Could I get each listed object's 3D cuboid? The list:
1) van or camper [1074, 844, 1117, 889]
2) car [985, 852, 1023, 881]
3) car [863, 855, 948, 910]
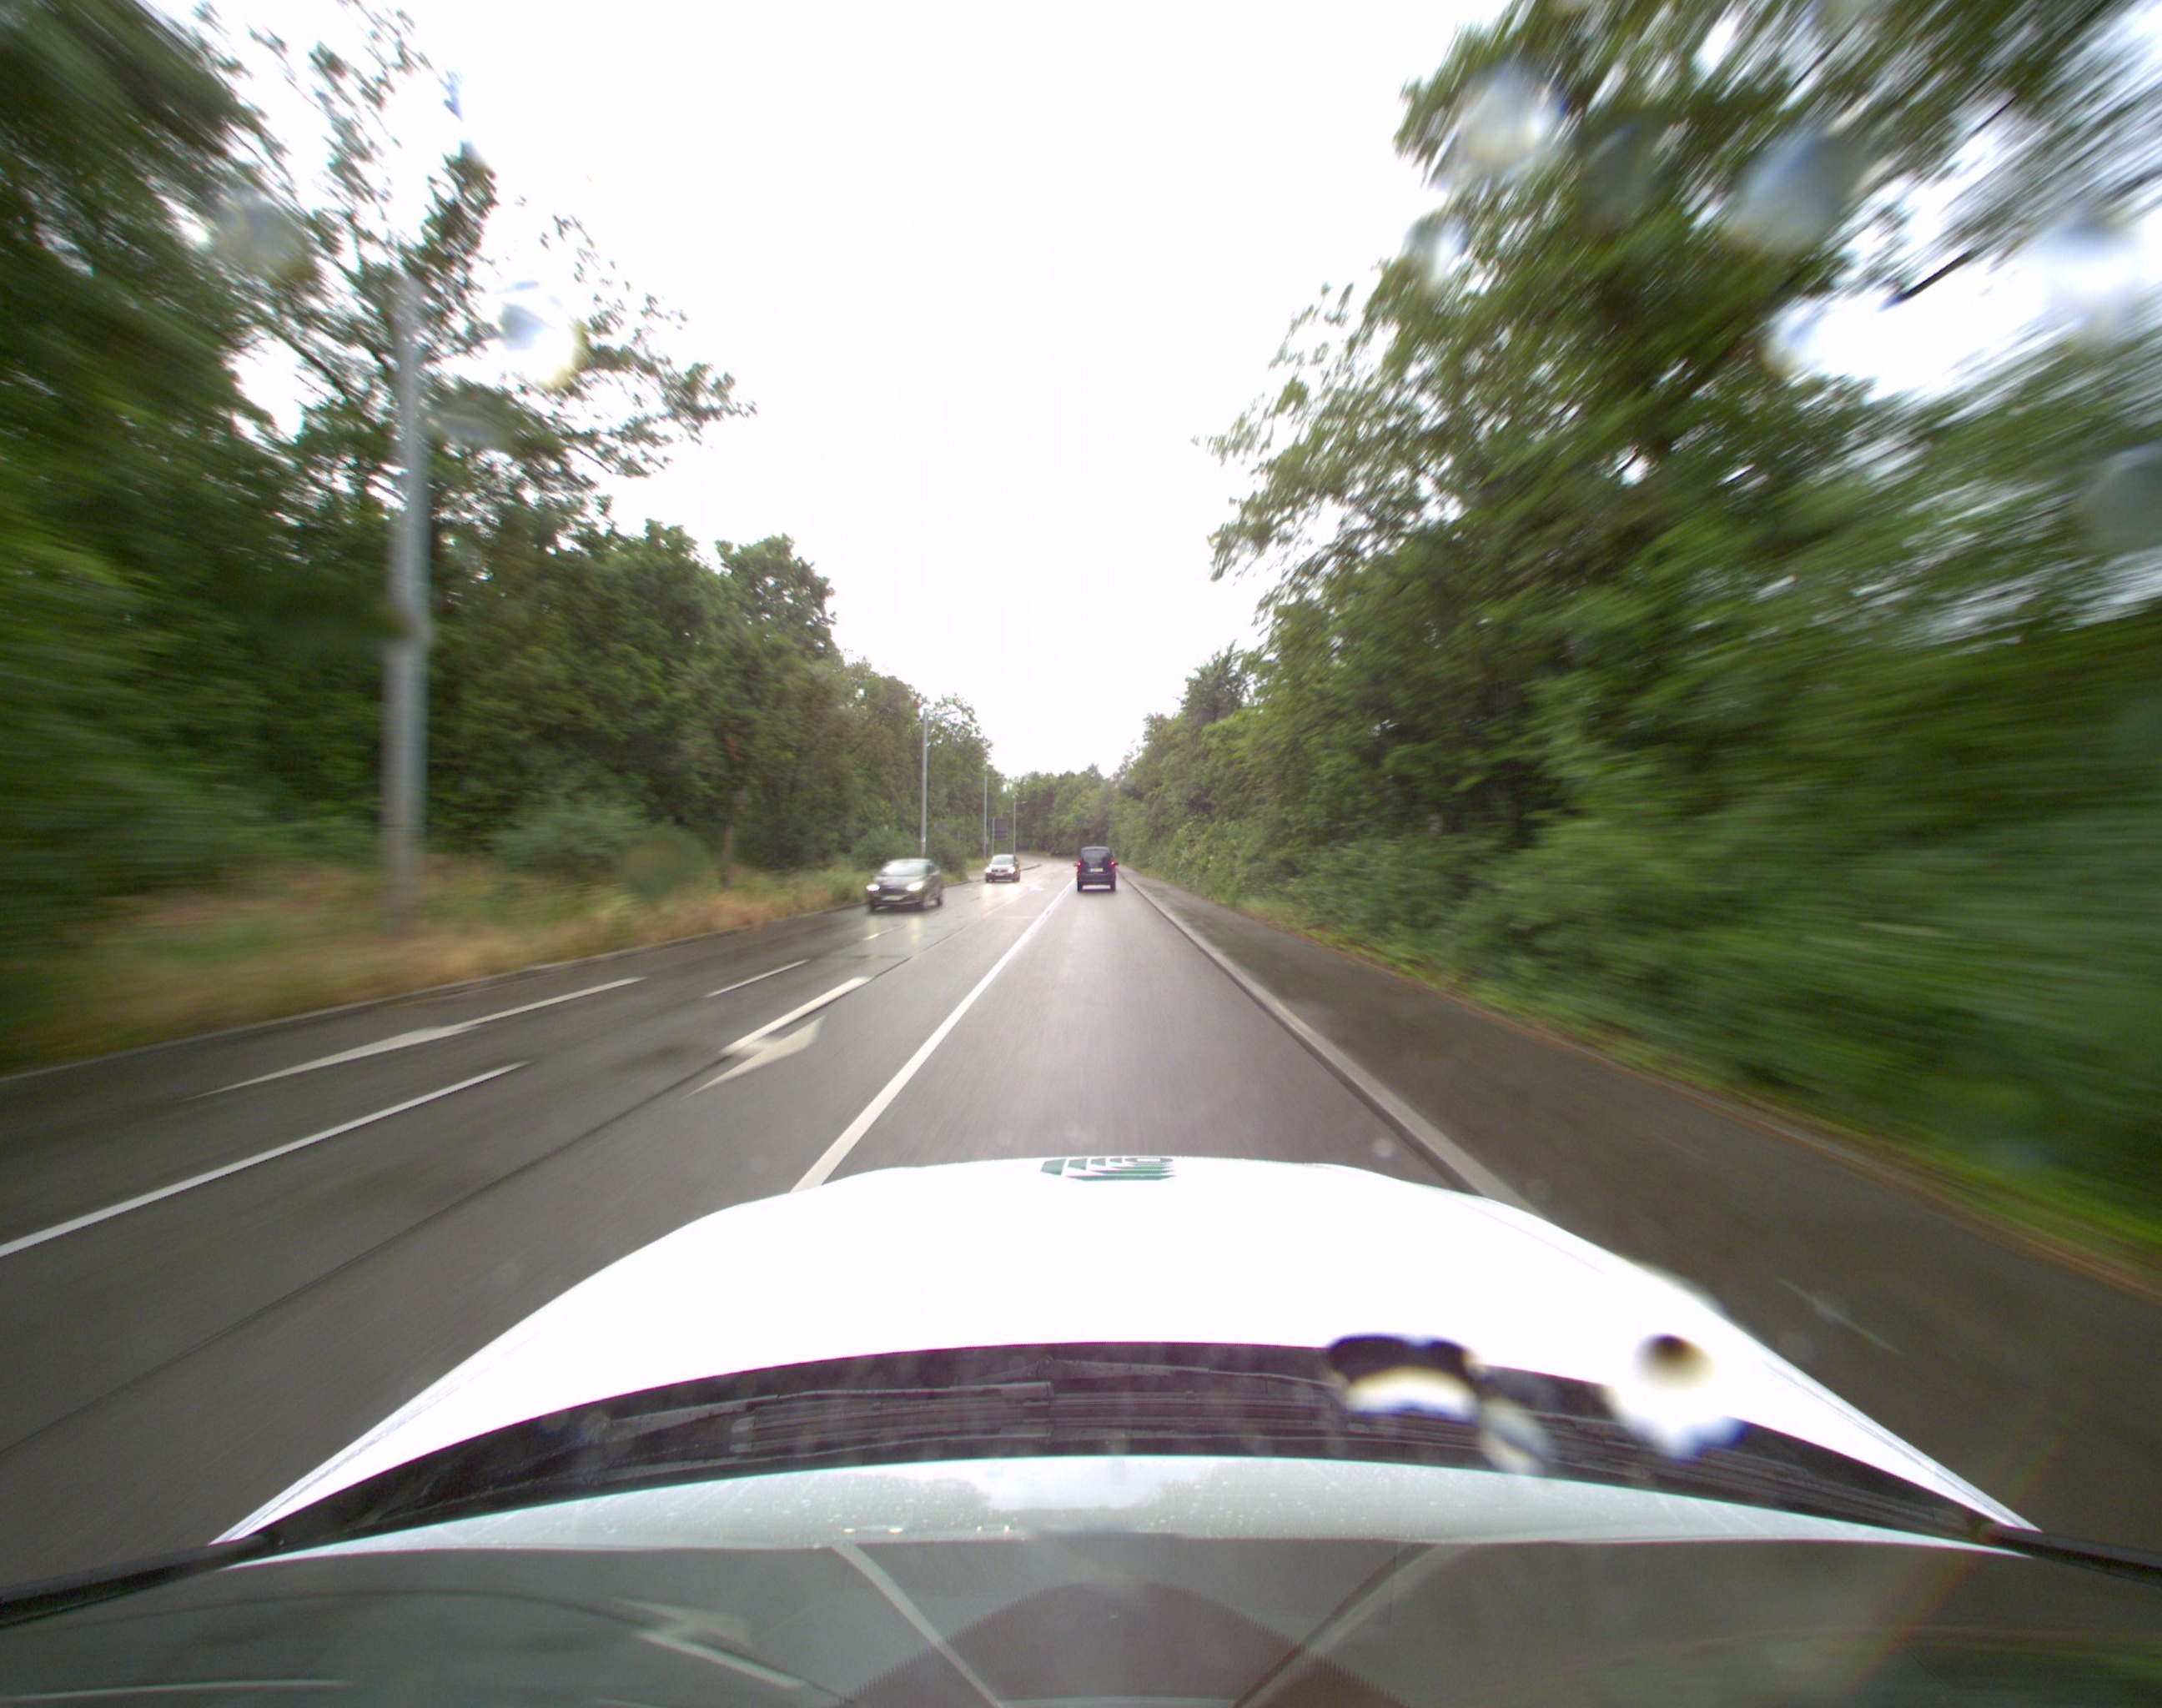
[{"bbox_3d":[0.663,0.490,35.048,1.706,1.826,4.003,-1,0,3],"label":"van or camper"},{"bbox_3d":[-4.492,0.697,47.934,1.765,1.610,4.085,0,0,1],"label":"car"},{"bbox_3d":[-5.097,0.788,24.102,1.593,1.441,3.991,-1,0,0],"label":"car"}]
